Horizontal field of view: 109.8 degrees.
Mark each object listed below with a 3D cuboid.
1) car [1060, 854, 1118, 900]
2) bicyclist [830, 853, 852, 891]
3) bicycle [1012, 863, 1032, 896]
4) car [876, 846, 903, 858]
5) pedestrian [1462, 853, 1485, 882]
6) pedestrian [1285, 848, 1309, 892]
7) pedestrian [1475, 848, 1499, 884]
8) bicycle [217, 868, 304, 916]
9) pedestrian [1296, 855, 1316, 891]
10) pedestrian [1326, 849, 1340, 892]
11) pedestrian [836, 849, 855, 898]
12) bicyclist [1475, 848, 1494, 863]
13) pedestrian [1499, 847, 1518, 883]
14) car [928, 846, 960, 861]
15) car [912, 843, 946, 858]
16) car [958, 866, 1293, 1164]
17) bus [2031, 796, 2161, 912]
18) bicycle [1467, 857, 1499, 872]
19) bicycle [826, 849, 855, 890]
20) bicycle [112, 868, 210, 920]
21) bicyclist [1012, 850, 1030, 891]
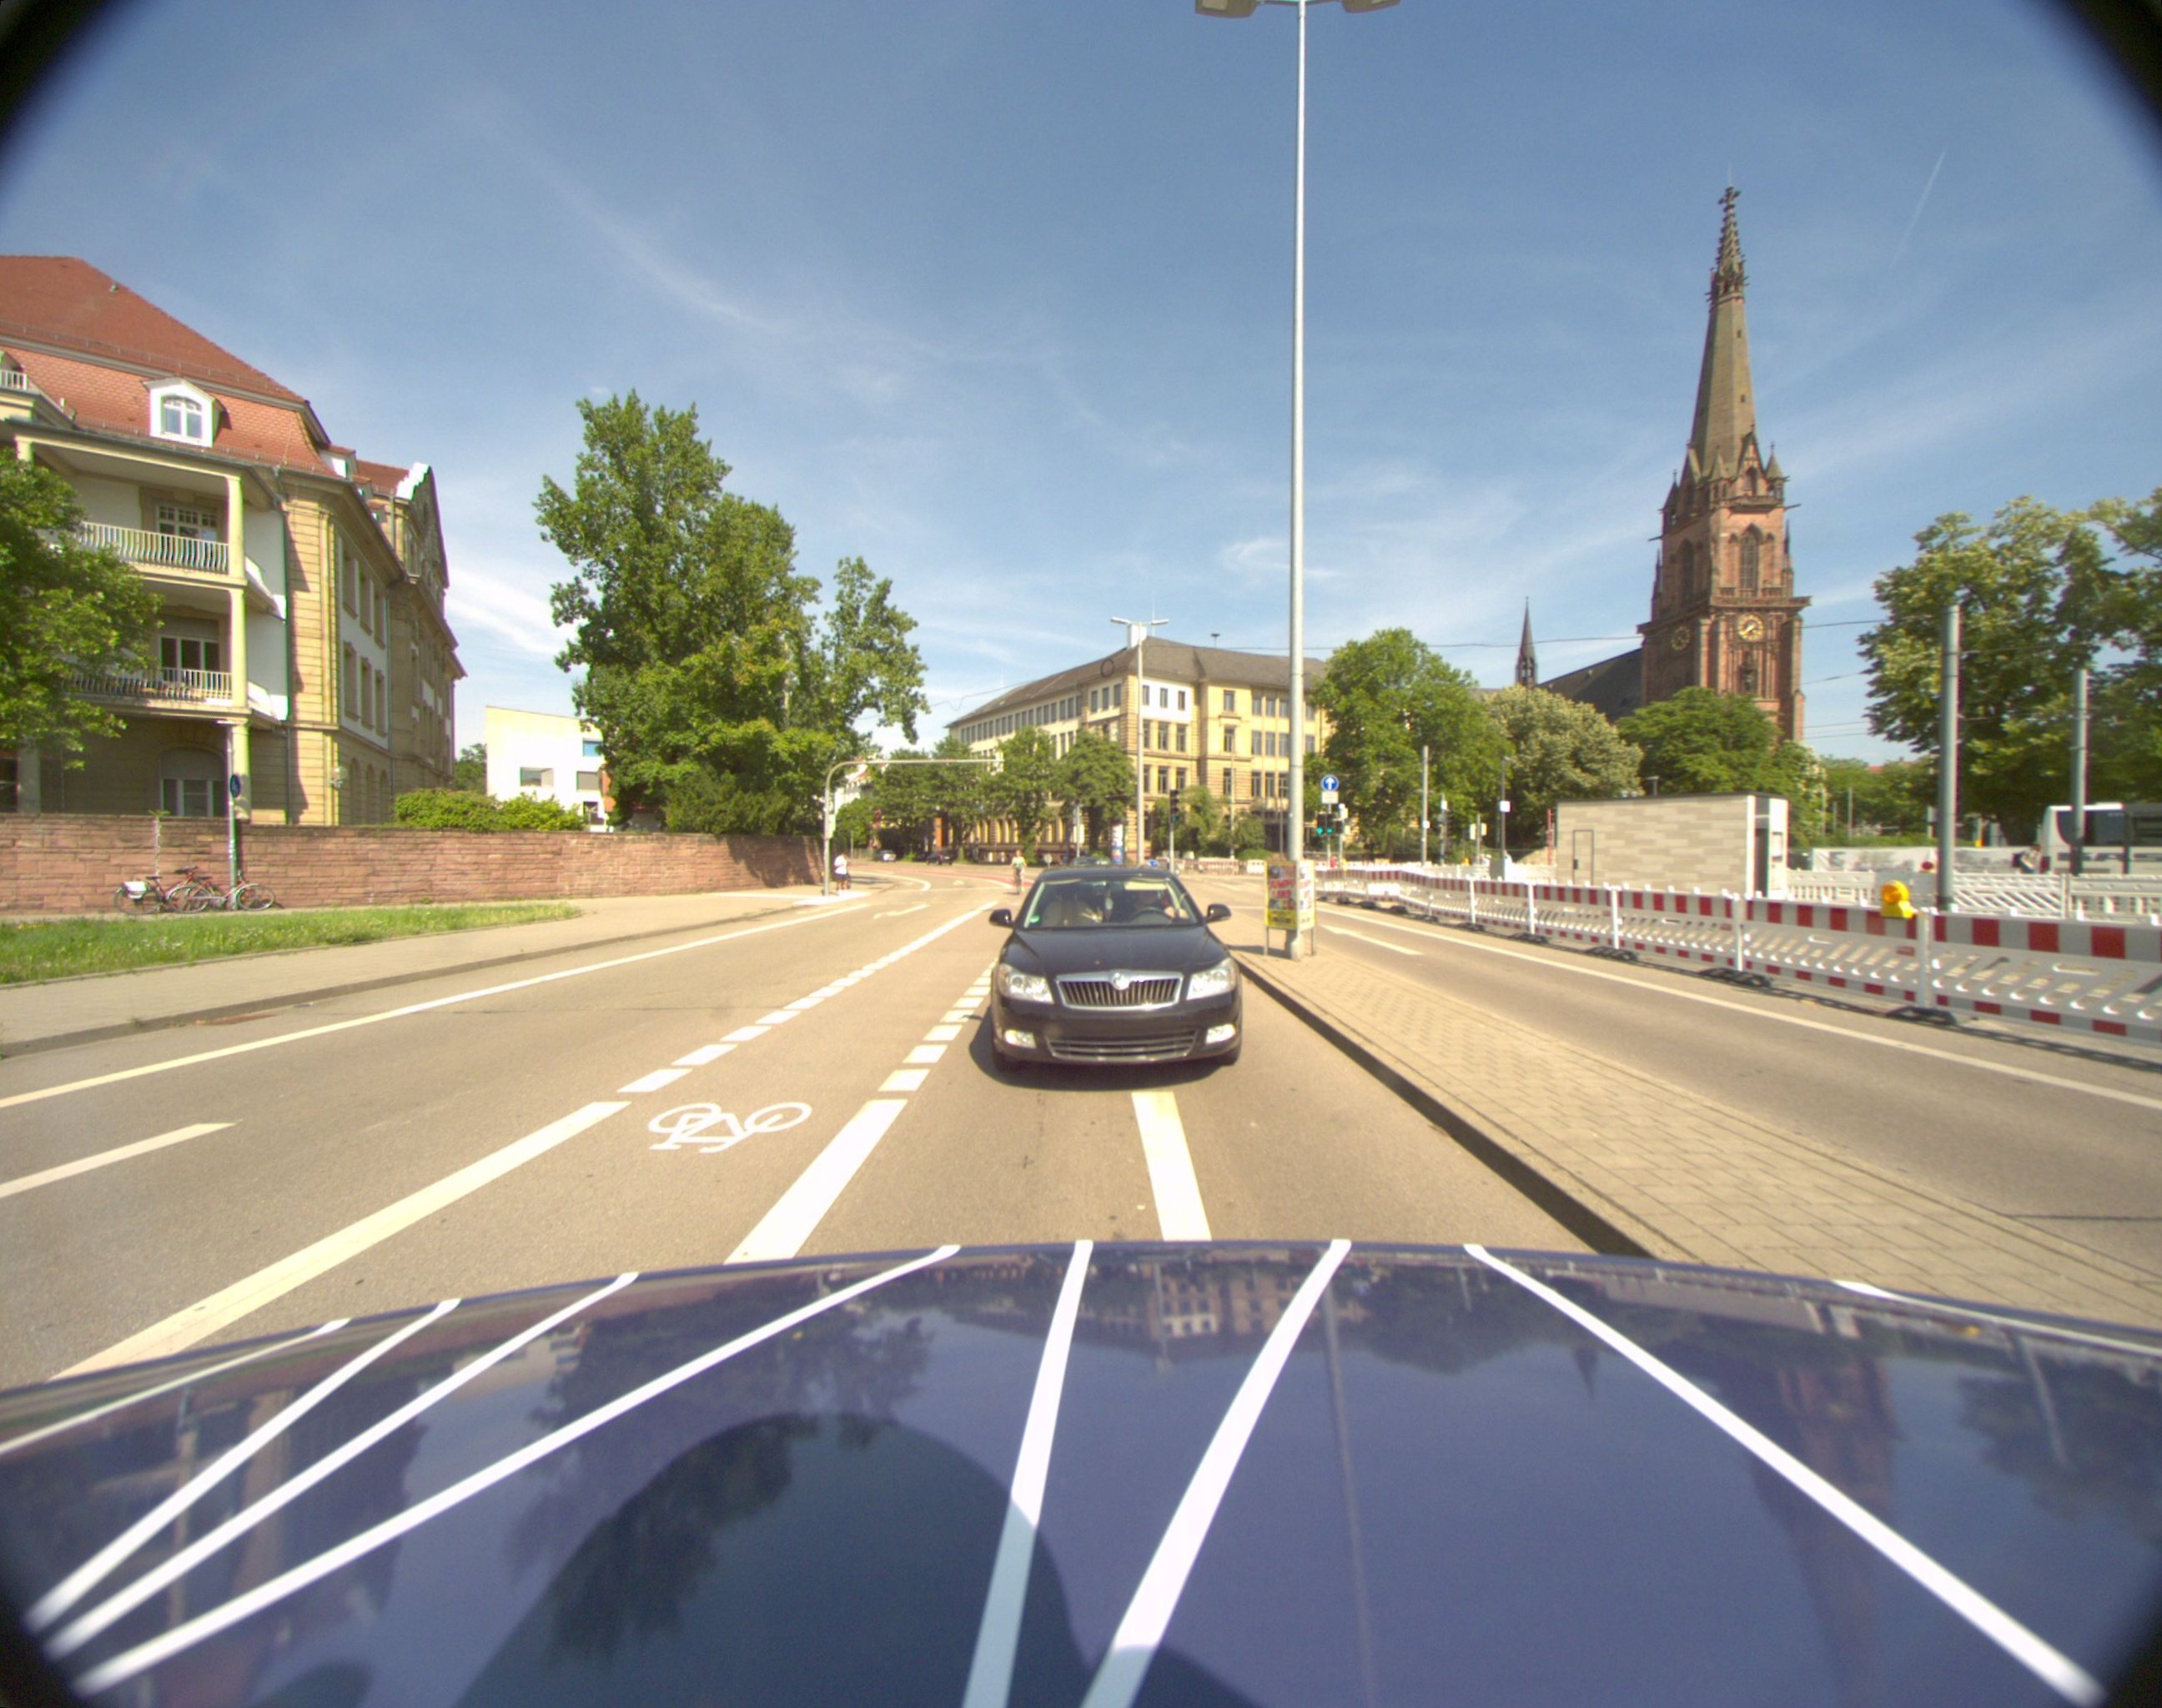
[{"bbox_3d":[0.232,0.738,26.148,1.802,1.368,4.275,-1,1,-1],"label":"car"},{"bbox_3d":[-10.625,0.785,33.661,0.680,1.646,0.919,1,1,1],"label":"bicyclist"},{"bbox_3d":[-2.339,0.993,29.919,0.686,1.215,2.184,0,1,-8],"label":"bicycle"},{"bbox_3d":[-24.237,-0.248,96.103,1.803,1.404,3.988,1,1,-37],"label":"car"},{"bbox_3d":[22.623,0.793,43.786,0.939,1.646,0.845,0,1,9],"label":"pedestrian"},{"bbox_3d":[8.892,0.659,31.288,0.839,1.802,0.651,0,1,29],"label":"pedestrian"},{"bbox_3d":[18.310,0.551,34.288,0.661,1.606,0.794,0,0,1],"label":"pedestrian"},{"bbox_3d":[-20.517,0.937,19.027,0.348,1.116,1.438,1,1,35],"label":"bicycle"},{"bbox_3d":[9.907,0.833,33.510,0.424,1.534,0.666,-4,1,-31],"label":"pedestrian"},{"bbox_3d":[9.719,0.629,29.320,0.350,1.606,0.686,0,1,2],"label":"pedestrian"},{"bbox_3d":[-9.147,0.750,29.520,0.654,1.863,0.795,2,1,-18],"label":"pedestrian"},{"bbox_3d":[25.553,0.078,48.145,0.684,0.922,0.867,-1,1,-38],"label":"bicyclist"},{"bbox_3d":[19.434,0.490,34.526,0.584,1.606,0.691,0,1,44],"label":"pedestrian"},{"bbox_3d":[-14.725,-0.040,81.709,1.675,1.442,3.806,1,1,-41],"label":"car"},{"bbox_3d":[-20.514,-0.459,102.746,4.008,2.002,1.994,0,1,-35],"label":"car"},{"bbox_3d":[0.224,0.943,6.654,1.864,1.510,4.826,0,1,-1],"label":"car"},{"bbox_3d":[35.733,0.031,20.338,2.867,3.469,12.624,0,1,-34],"label":"bus"},{"bbox_3d":[25.503,0.669,48.203,0.703,0.941,1.661,-1,1,-39],"label":"bicycle"},{"bbox_3d":[-10.617,0.650,33.653,0.680,1.755,1.811,1,1,1],"label":"bicycle"},{"bbox_3d":[-21.475,0.910,17.776,0.348,1.116,1.437,1,1,15],"label":"bicycle"},{"bbox_3d":[-2.374,0.633,29.956,0.588,1.539,0.930,-2,2,-8],"label":"bicyclist"}]
